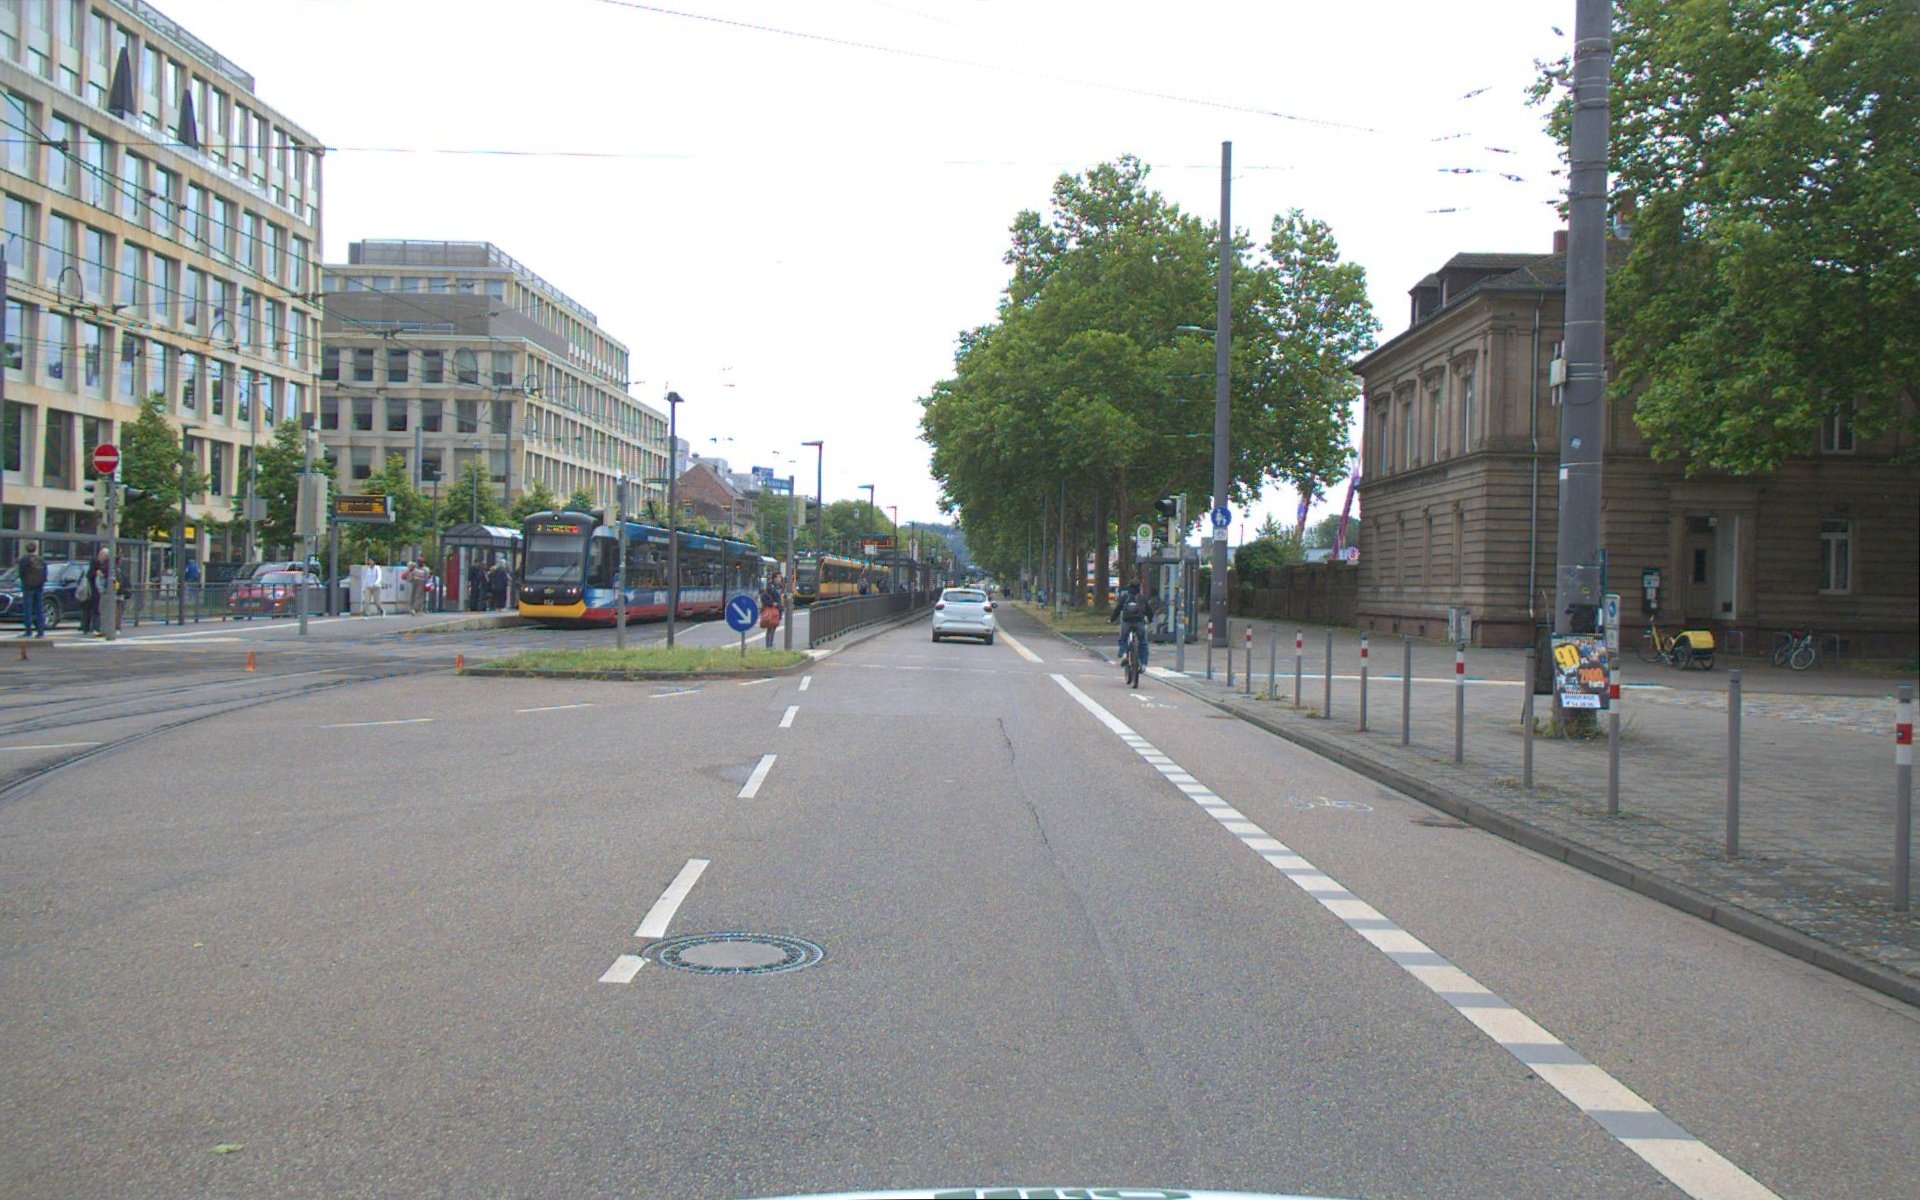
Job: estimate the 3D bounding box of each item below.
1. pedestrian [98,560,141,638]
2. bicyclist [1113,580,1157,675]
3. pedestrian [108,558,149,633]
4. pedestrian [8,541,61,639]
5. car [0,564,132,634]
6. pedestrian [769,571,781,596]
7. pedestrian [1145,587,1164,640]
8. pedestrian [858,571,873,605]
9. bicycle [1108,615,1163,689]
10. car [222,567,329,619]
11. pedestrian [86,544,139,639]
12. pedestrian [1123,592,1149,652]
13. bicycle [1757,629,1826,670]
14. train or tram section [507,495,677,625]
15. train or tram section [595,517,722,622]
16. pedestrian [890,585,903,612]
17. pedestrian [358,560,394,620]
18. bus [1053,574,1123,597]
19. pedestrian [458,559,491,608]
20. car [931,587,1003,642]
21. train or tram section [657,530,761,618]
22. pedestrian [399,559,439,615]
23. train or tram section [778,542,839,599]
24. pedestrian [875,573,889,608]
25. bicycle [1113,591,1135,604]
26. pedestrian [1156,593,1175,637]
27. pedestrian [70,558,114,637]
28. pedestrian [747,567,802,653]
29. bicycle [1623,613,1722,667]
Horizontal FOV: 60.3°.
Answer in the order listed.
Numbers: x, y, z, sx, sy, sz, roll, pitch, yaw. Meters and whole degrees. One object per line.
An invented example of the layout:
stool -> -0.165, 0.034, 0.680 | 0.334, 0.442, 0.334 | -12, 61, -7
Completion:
pedestrian -> -17.844, -0.025, 35.126 | 0.702, 1.626, 0.523 | 1, -1, 36
bicyclist -> 2.926, 0.462, 27.689 | 0.628, 1.557, 0.664 | 1, -1, -1
pedestrian -> -18.131, -0.093, 36.076 | 0.707, 1.626, 0.701 | 1, -1, -33
pedestrian -> -18.401, -0.195, 32.876 | 0.844, 1.900, 0.739 | 1, -1, -34
car -> -21.265, -0.060, 38.562 | 1.703, 1.520, 4.366 | 1, 0, -1
pedestrian -> -13.764, -1.250, 122.932 | 0.697, 1.827, 1.160 | 1, 0, 0
pedestrian -> 5.848, 0.411, 49.753 | 0.466, 1.590, 0.702 | 1, -1, 0
pedestrian -> -5.064, -0.639, 88.564 | 0.658, 1.825, 1.110 | 1, 0, -12
bicycle -> 2.922, 0.849, 27.714 | 0.639, 1.170, 2.282 | 1, 0, -1
car -> -20.756, -0.213, 50.311 | 1.703, 1.474, 3.769 | 1, 0, -1
pedestrian -> -17.252, -0.172, 33.669 | 0.844, 1.900, 0.739 | 1, -1, -34
pedestrian -> 4.611, 0.584, 43.392 | 0.540, 1.555, 0.638 | 1, -1, 18
bicycle -> 20.231, 1.194, 40.264 | 0.597, 0.887, 2.081 | 1, 0, -1
train or tram section -> -11.642, -1.131, 53.690 | 2.796, 3.704, 11.765 | 1, 0, 0
train or tram section -> -11.692, -1.076, 65.379 | 2.796, 3.704, 11.699 | 1, 0, 0
pedestrian -> -3.164, -0.084, 82.991 | 0.598, 1.364, 0.600 | 1, -1, 1
pedestrian -> -16.039, -0.270, 45.430 | 0.693, 1.613, 0.766 | 1, -1, -1
bus -> 17.174, -1.941, 222.214 | 9.089, 3.011, 1.999 | 1, 0, -2
pedestrian -> -16.244, -0.556, 55.375 | 0.828, 1.613, 0.910 | 1, 0, -4
car -> 0.234, 0.413, 47.176 | 1.846, 1.478, 4.001 | 1, 0, 3
train or tram section -> -11.617, -1.085, 78.017 | 2.796, 3.756, 13.520 | 1, 0, 0
pedestrian -> -15.882, -0.373, 48.582 | 0.889, 1.613, 0.848 | 1, -1, -1
train or tram section -> -11.079, -2.063, 122.438 | 3.170, 3.929, 11.313 | 1, 0, 1
pedestrian -> -4.221, -0.509, 89.404 | 0.657, 1.825, 1.111 | 1, 0, -8
bicycle -> 14.313, -0.203, 144.534 | 1.851, 1.124, 0.550 | -1, 0, -1
pedestrian -> 6.047, 0.437, 48.616 | 0.466, 1.255, 0.702 | 1, 0, 0
pedestrian -> -18.240, -0.052, 34.761 | 0.702, 1.626, 0.523 | 1, -1, 36
pedestrian -> -3.685, 0.200, 32.796 | 0.853, 1.671, 0.643 | 1, -1, -41
bicycle -> 17.409, 0.950, 40.527 | 0.882, 1.086, 3.407 | 1, 3, -1
